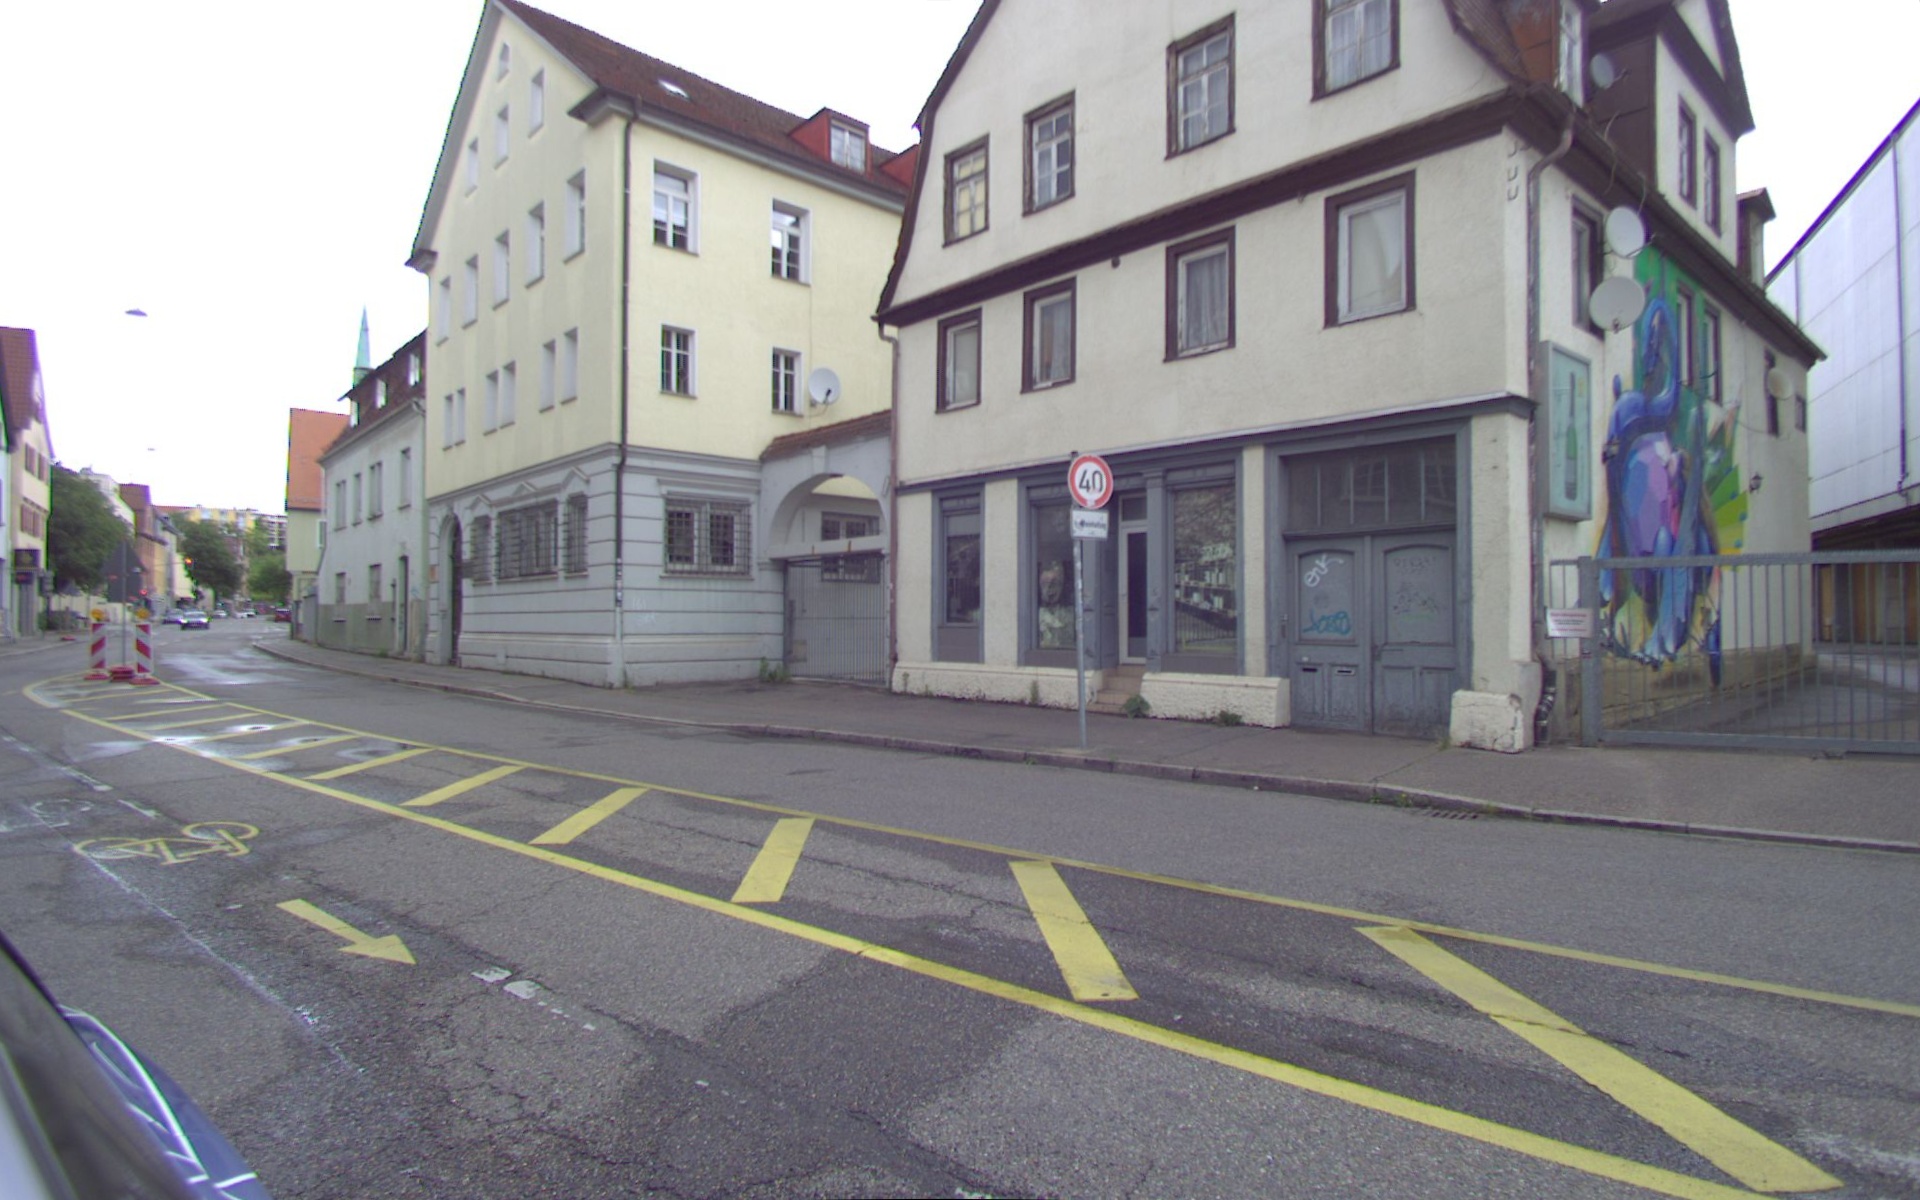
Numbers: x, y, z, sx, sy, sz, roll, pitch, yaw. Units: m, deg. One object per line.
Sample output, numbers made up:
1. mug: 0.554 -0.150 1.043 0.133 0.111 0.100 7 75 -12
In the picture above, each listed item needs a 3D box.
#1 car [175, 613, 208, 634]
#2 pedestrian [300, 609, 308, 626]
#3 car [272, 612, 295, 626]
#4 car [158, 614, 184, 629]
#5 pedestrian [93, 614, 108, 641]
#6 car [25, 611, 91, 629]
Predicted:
1. car: -63.796 1.935 84.035 1.967 1.691 4.010 0 0 -34
2. pedestrian: -80.558 2.120 124.248 0.823 2.029 0.847 1 -2 -36
3. car: -85.863 2.425 128.454 2.178 1.690 4.509 2 -2 -36
4. car: -84.957 2.263 109.024 2.001 1.567 4.010 2 -2 -35
5. pedestrian: -73.364 2.327 86.398 0.888 2.328 0.822 1 -2 -36
6. car: -77.419 1.716 86.922 3.932 1.475 2.006 0 0 -33
